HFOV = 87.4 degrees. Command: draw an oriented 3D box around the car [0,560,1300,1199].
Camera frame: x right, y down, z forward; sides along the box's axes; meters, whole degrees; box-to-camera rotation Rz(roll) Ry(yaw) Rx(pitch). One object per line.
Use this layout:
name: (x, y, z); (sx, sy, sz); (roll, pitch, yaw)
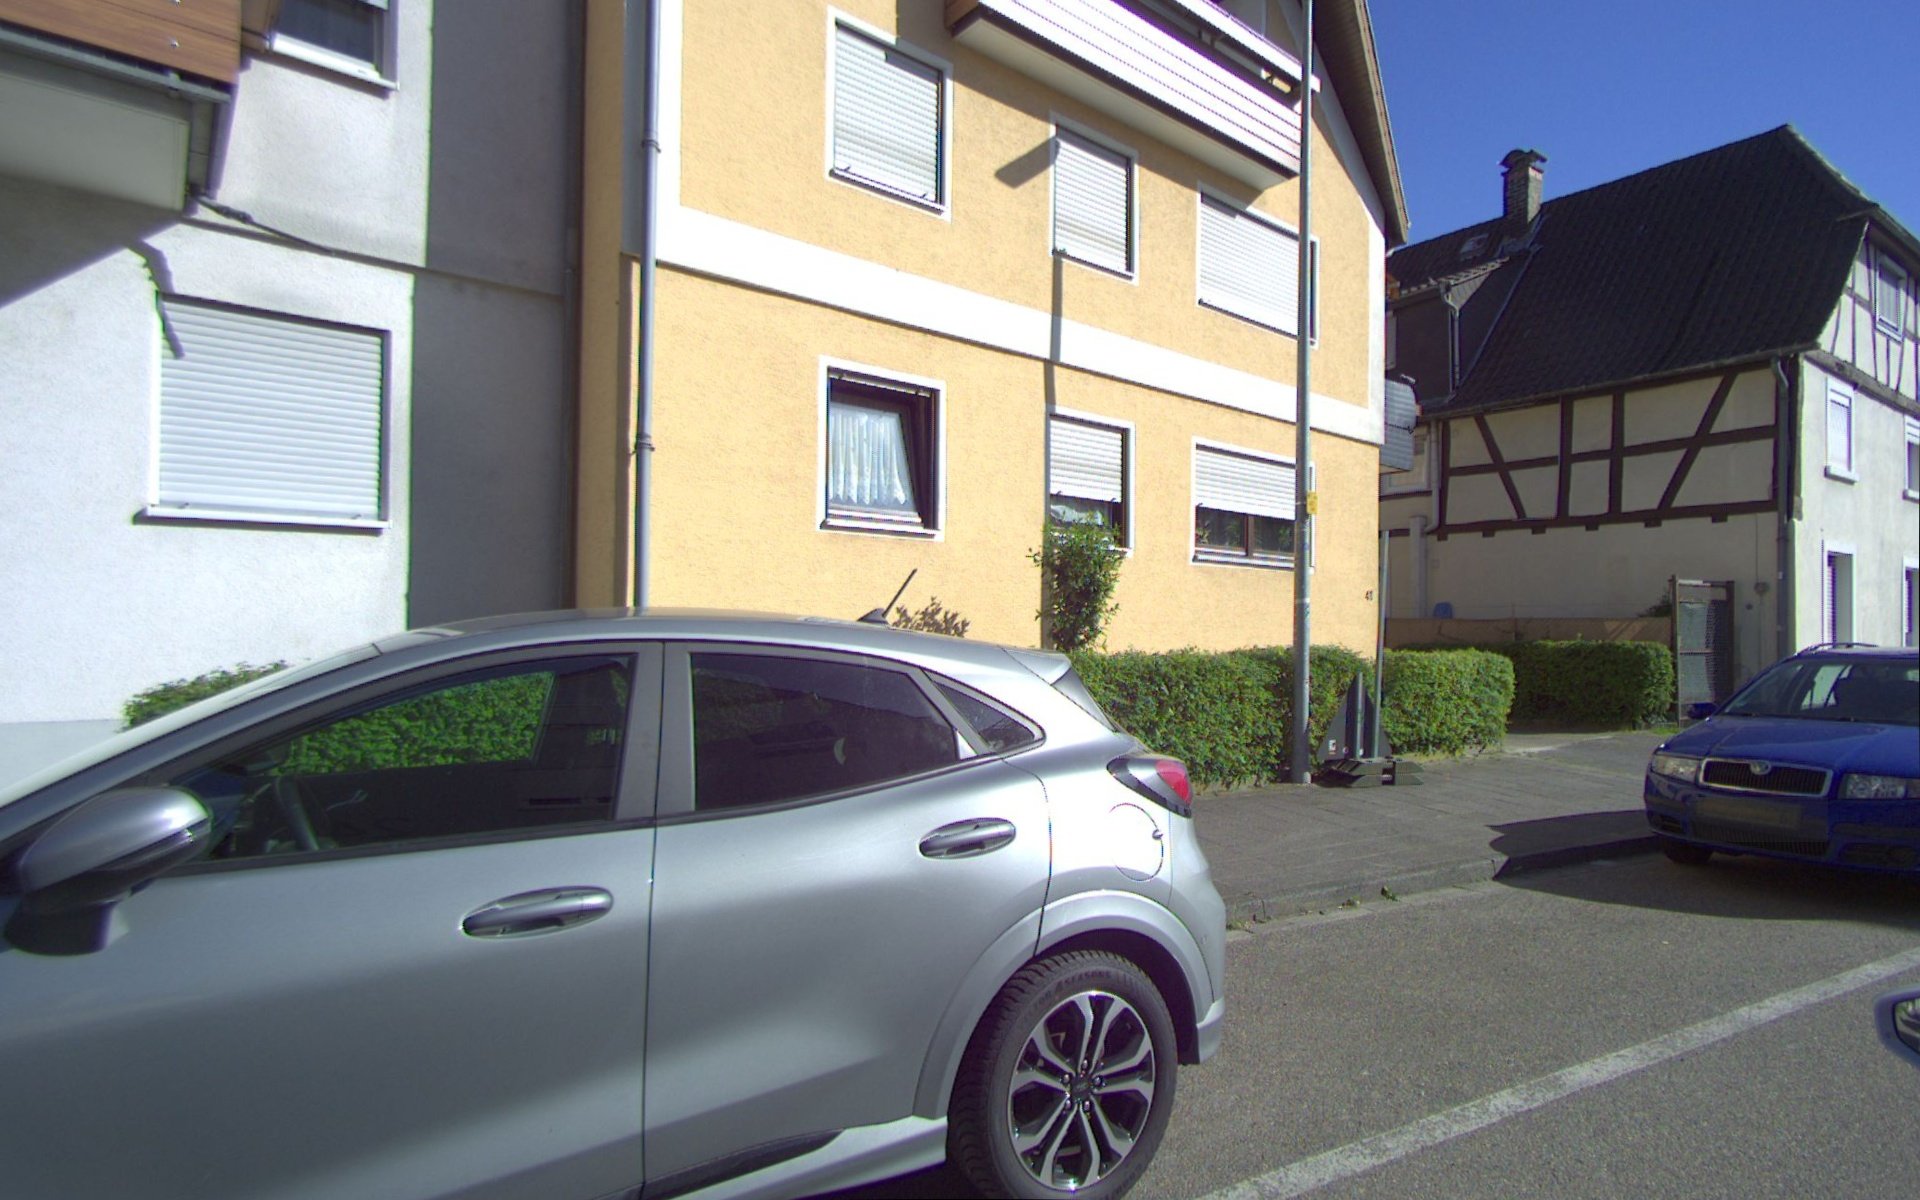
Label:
car: (-1.187, 0.745, 2.518); (4.048, 1.525, 1.665); (1, -2, -31)

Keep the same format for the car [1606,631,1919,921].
car: (6.237, 0.967, 6.691); (4.028, 1.460, 1.631); (2, -3, -31)

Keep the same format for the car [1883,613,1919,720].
car: (16.539, 1.055, 15.971); (3.971, 1.617, 1.712); (1, 1, -32)
